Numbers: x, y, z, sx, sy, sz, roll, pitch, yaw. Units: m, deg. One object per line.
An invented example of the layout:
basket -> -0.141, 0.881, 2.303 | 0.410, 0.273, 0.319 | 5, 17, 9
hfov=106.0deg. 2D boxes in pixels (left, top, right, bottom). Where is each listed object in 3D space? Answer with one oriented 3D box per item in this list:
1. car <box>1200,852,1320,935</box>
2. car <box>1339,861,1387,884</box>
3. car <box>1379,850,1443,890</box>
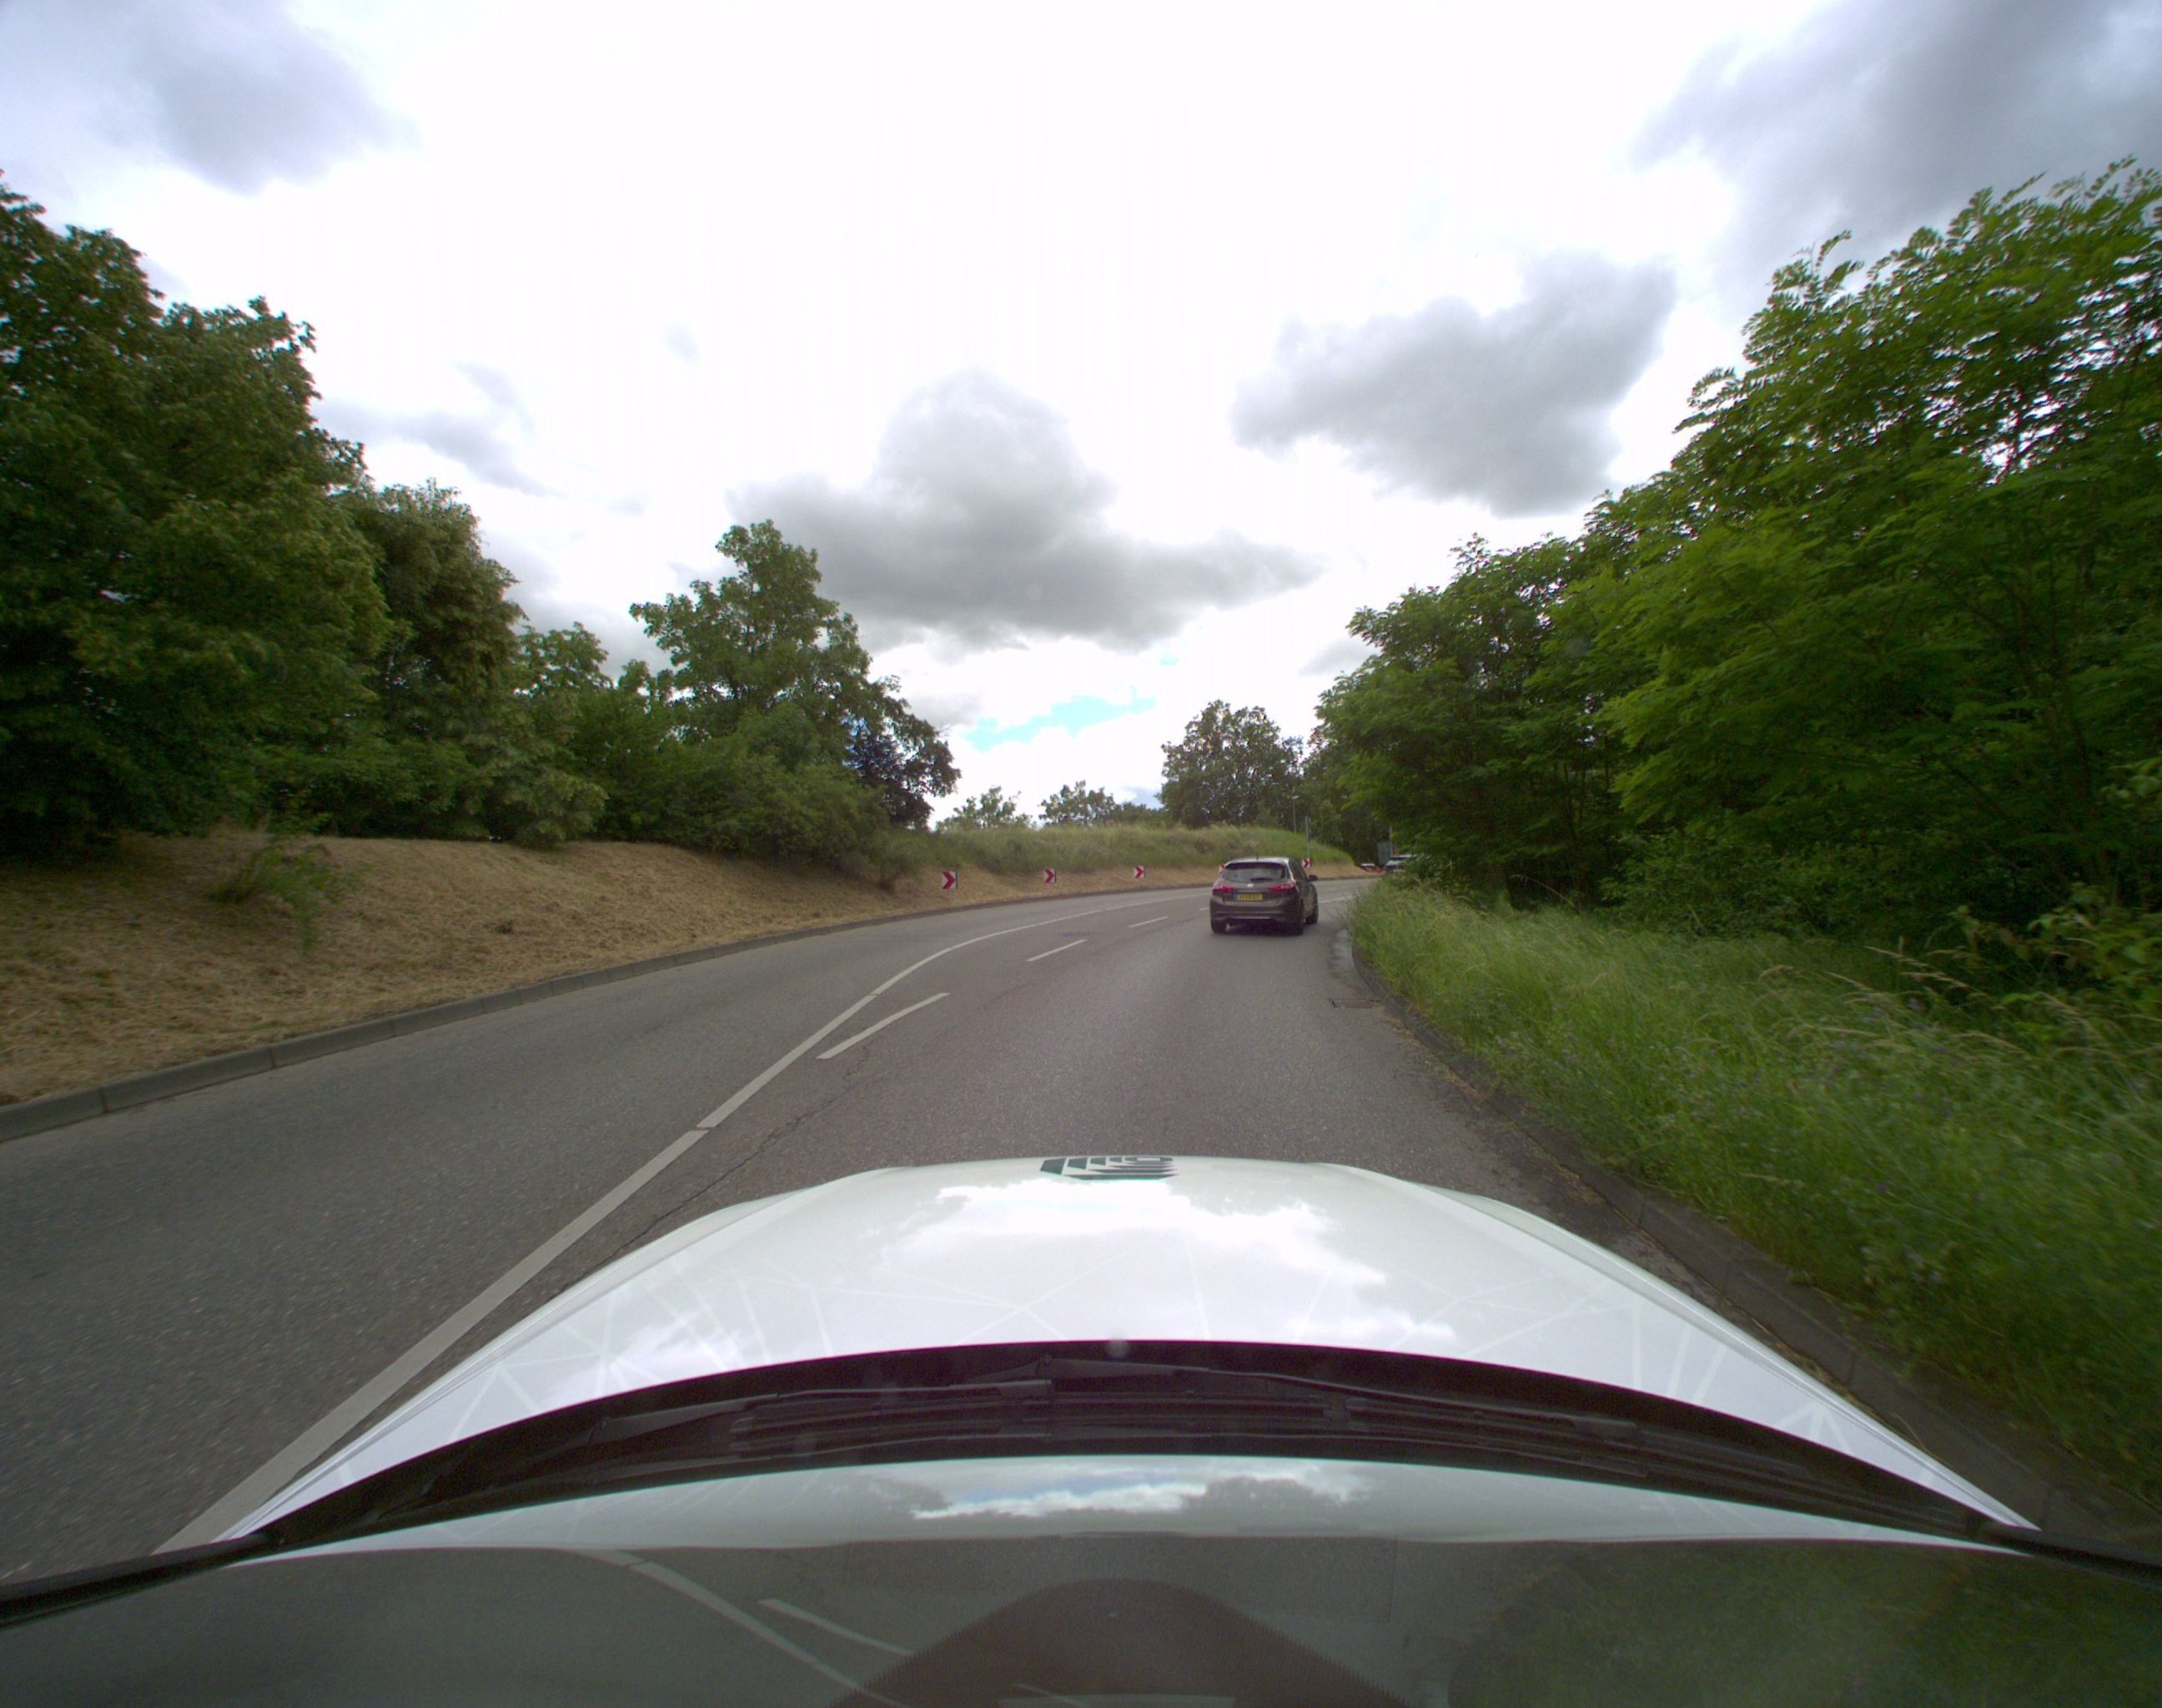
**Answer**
car -> 3.897, 0.732, 17.196 | 1.829, 1.493, 4.021 | -1, 0, 22
car -> 26.141, 1.747, 75.632 | 1.859, 1.814, 4.002 | -1, -4, -27
car -> 13.589, 0.627, 33.403 | 1.881, 1.466, 4.025 | 0, 1, 30
